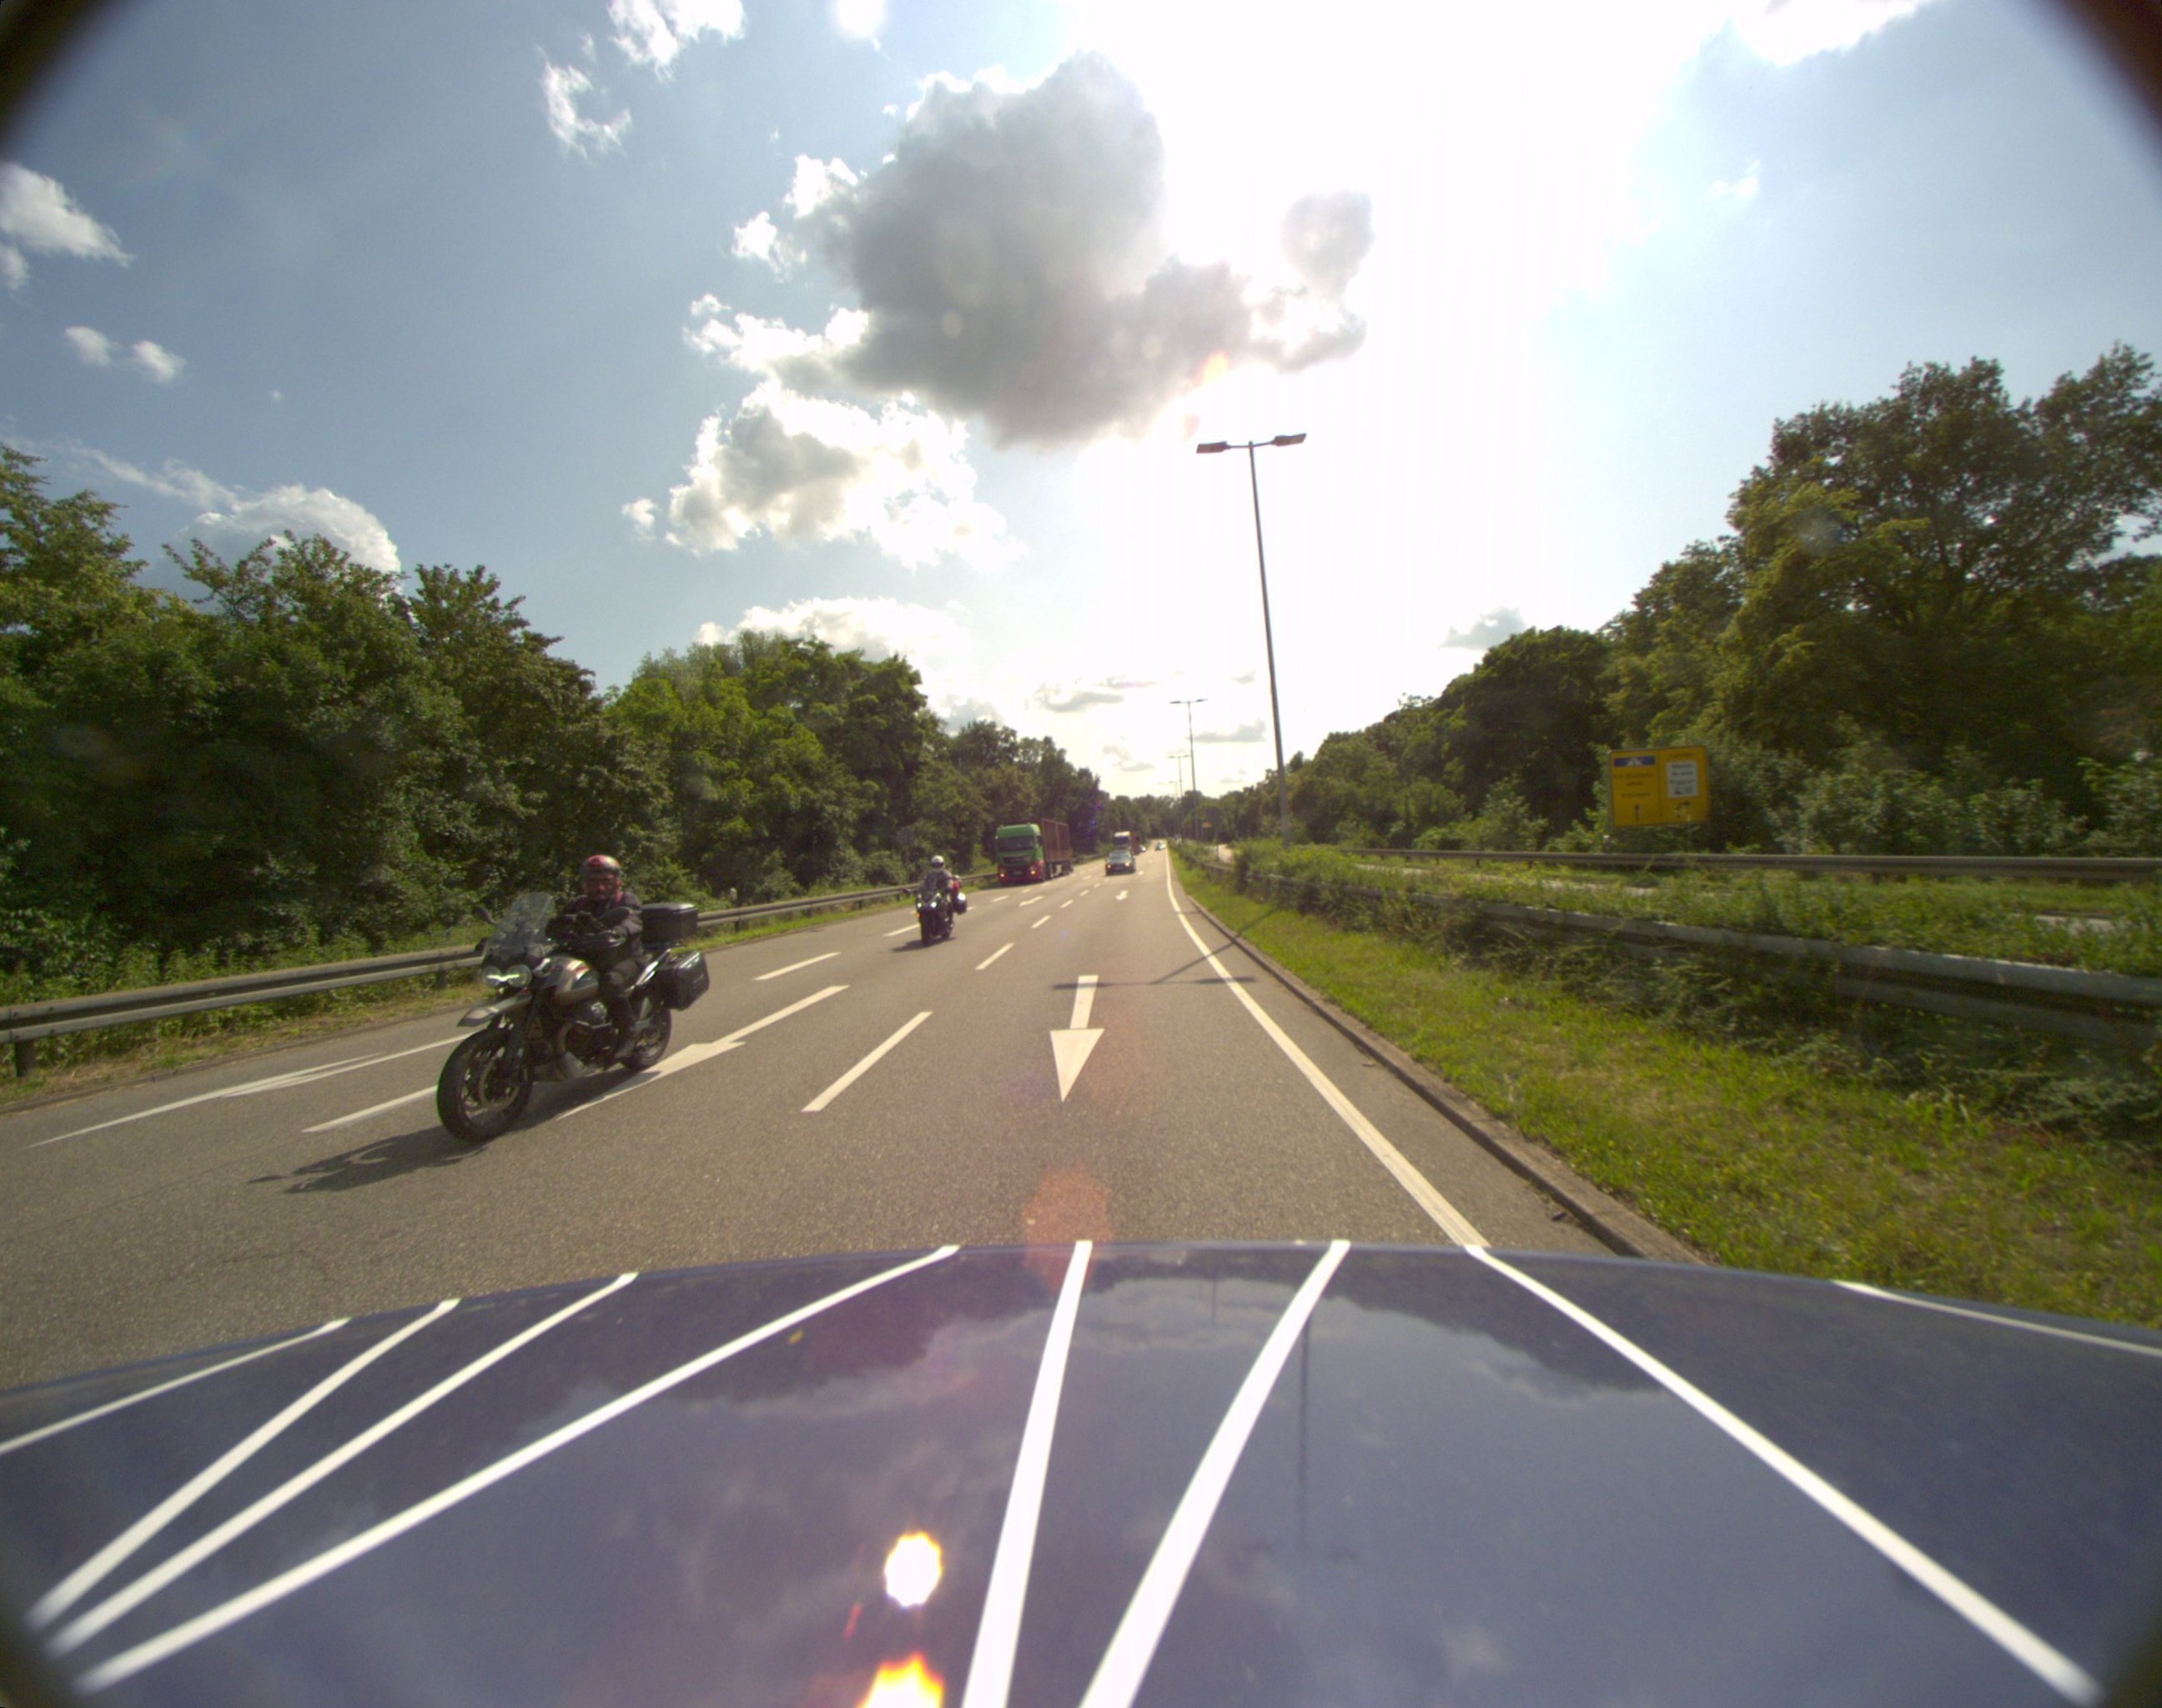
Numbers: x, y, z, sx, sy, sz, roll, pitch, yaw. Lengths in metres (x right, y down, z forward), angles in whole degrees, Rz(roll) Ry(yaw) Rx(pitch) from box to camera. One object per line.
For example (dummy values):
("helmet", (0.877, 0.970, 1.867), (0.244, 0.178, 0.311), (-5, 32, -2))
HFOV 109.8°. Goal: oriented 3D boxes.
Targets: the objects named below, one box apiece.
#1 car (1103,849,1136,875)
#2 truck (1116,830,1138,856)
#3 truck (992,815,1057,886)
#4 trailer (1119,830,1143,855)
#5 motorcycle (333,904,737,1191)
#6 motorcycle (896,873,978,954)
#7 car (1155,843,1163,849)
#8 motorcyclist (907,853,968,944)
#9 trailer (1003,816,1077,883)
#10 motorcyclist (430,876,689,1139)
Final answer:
("car", (2.520, 0.480, 48.872), (1.735, 1.468, 4.049), (-3, 0, 7))
("truck", (7.650, -1.836, 125.290), (2.689, 3.948, 7.387), (-5, 0, 9))
("truck", (-3.335, -0.227, 46.508), (2.590, 3.871, 6.064), (-5, 0, 6))
("trailer", (8.728, -1.921, 132.053), (2.693, 3.948, 12.399), (-5, 0, 9))
("motorcycle", (-3.523, 1.144, 5.331), (0.939, 1.375, 2.370), (-3, 0, 4))
("motorcycle", (-2.775, 1.107, 14.961), (0.867, 1.381, 2.371), (-3, 0, 6))
("car", (19.171, -1.899, 186.858), (1.796, 1.368, 4.002), (-3, 0, 7))
("motorcyclist", (-2.797, 0.849, 14.864), (0.867, 1.690, 0.895), (-3, 0, 5))
("trailer", (-2.543, -0.298, 53.641), (2.590, 3.871, 14.507), (-5, 0, 6))
("motorcyclist", (-3.534, 0.979, 5.281), (0.939, 1.581, 1.083), (-3, 0, 4))
